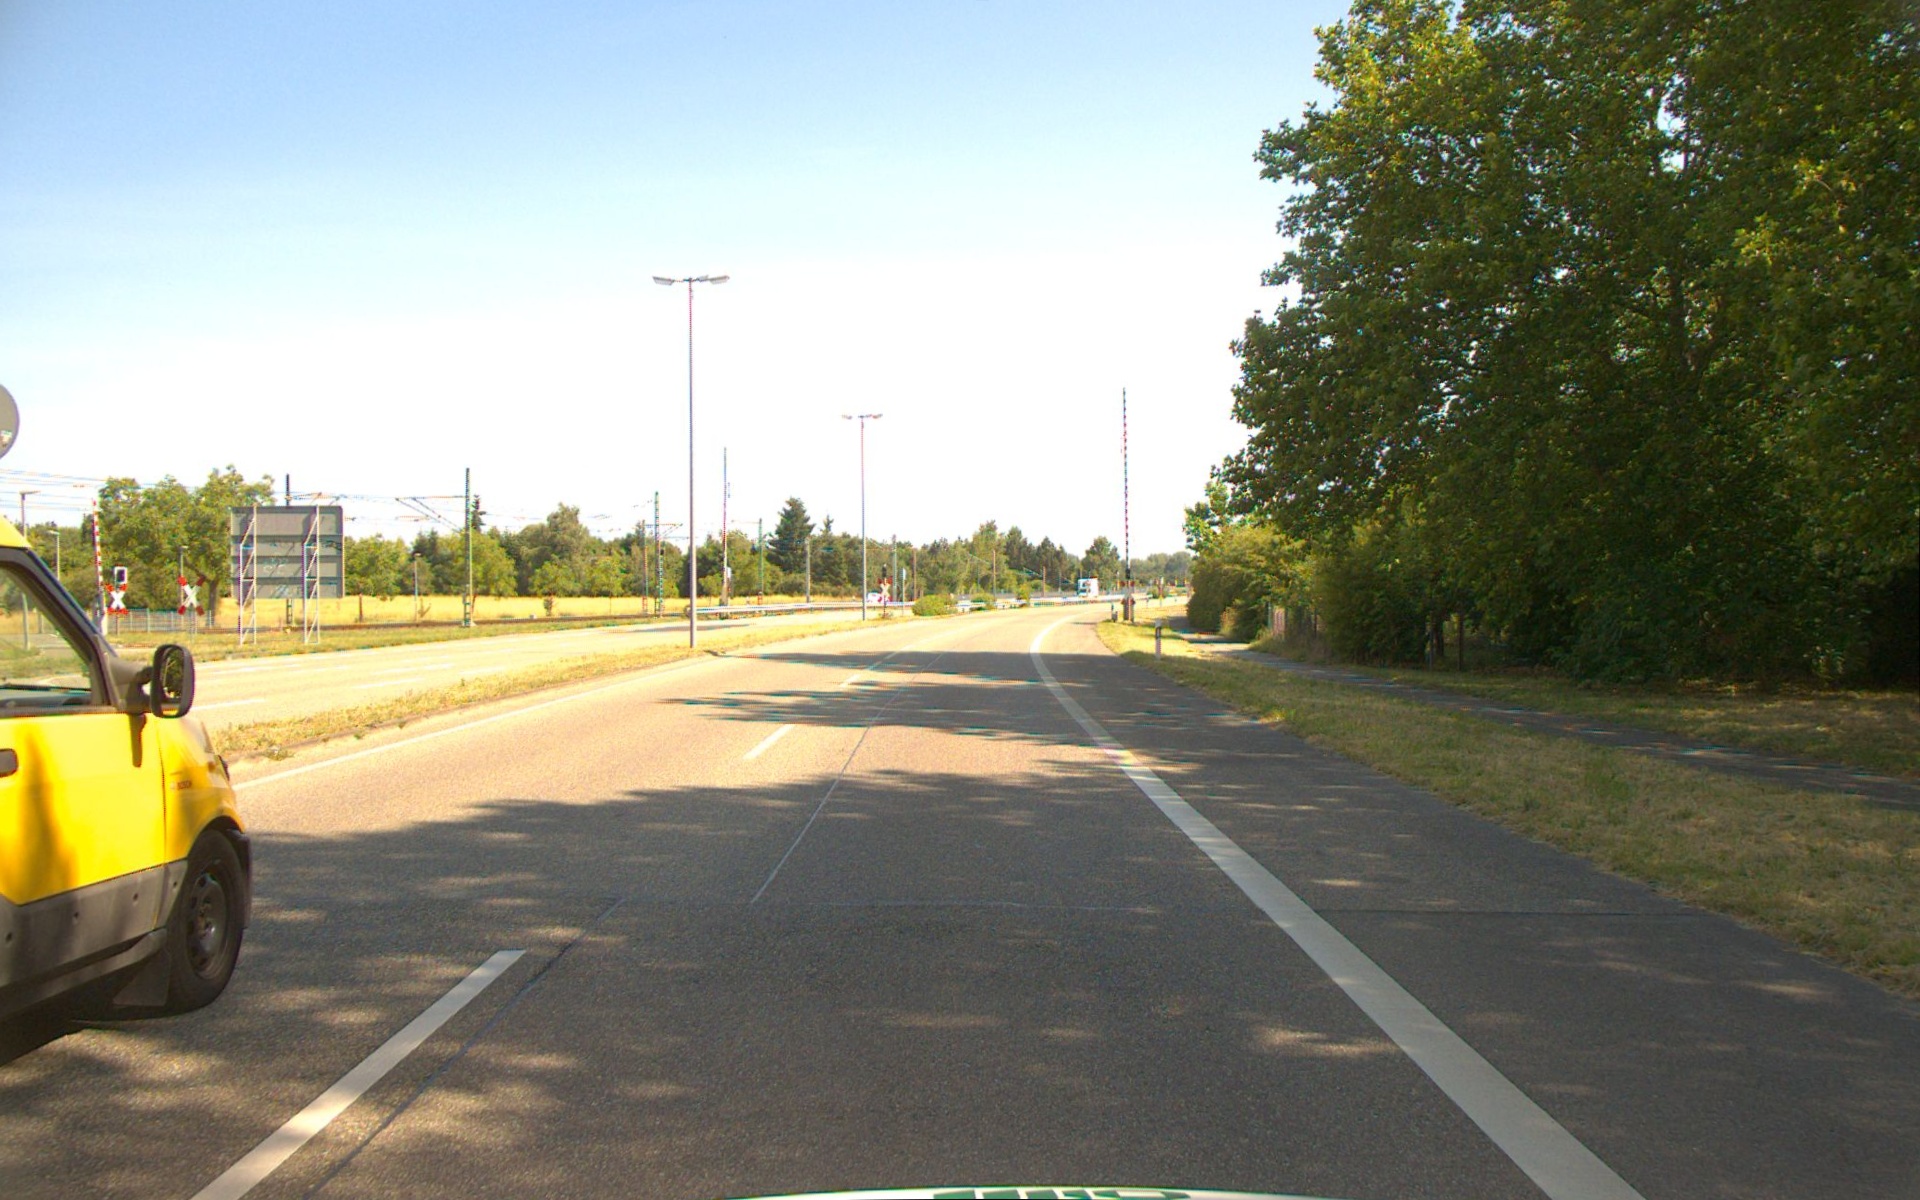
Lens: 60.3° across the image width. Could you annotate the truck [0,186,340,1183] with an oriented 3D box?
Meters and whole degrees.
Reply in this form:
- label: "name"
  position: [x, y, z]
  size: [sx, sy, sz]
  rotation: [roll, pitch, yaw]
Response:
- label: "truck"
  position: [-3.427, 0.213, 3.633]
  size: [2.069, 2.500, 5.914]
  rotation: [0, 0, -2]
